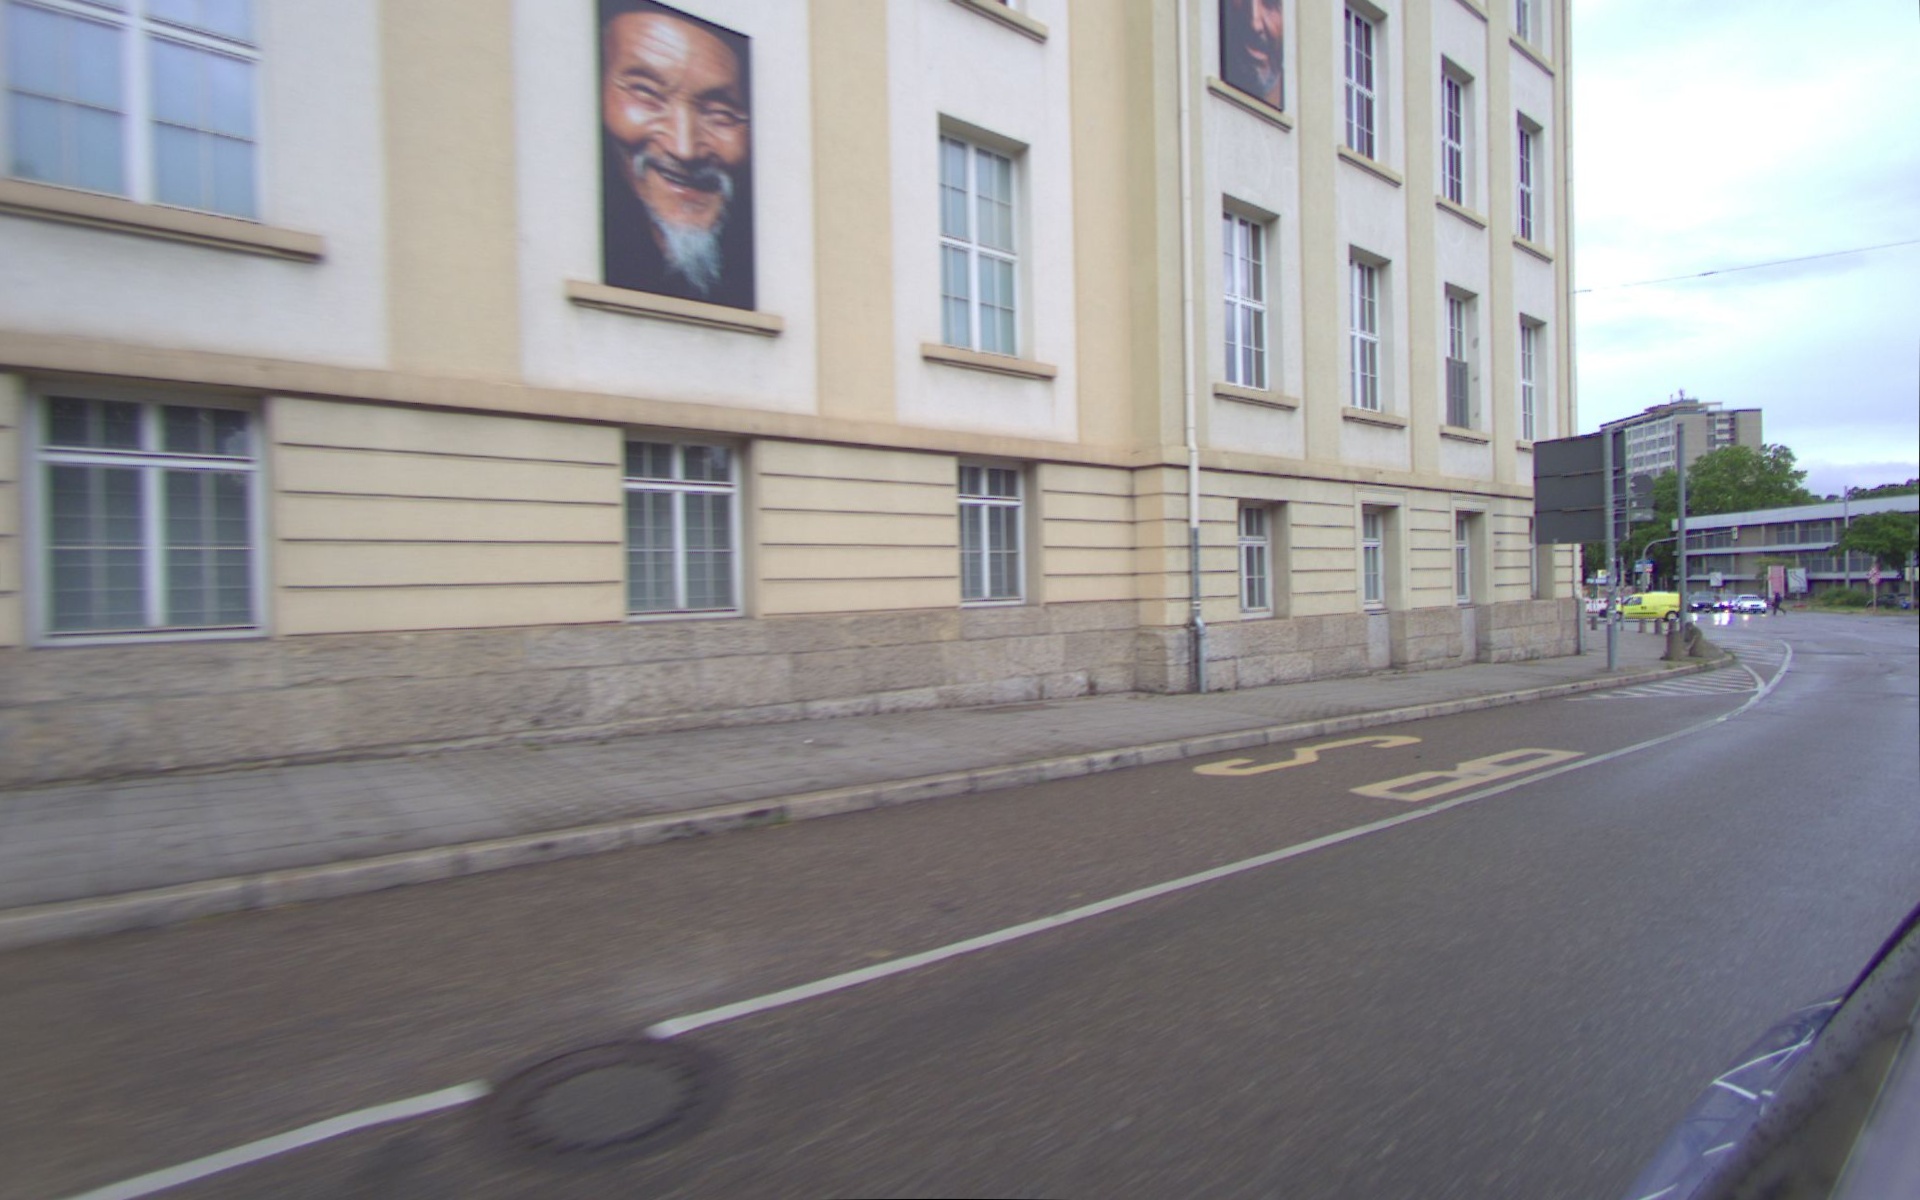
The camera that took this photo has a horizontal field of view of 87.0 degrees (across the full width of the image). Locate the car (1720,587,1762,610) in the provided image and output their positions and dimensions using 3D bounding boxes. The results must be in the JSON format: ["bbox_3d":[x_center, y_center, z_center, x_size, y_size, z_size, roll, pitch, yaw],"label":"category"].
[{"bbox_3d":[66.009,-0.148,85.635,2.058,1.850,4.517,1,1,28],"label":"car"}]

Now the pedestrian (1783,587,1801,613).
[{"bbox_3d":[59.628,-0.022,72.565,0.901,1.819,0.533,-2,-1,45],"label":"pedestrian"}]

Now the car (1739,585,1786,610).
[{"bbox_3d":[63.423,-0.203,80.053,2.058,1.935,4.517,1,1,28],"label":"car"}]

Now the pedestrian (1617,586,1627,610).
[{"bbox_3d":[56.661,-0.212,86.682,0.637,2.039,0.589,0,0,26],"label":"pedestrian"}]

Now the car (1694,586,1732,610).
[{"bbox_3d":[61.028,-0.175,82.091,1.867,1.892,4.304,1,1,28],"label":"car"}]

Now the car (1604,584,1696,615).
[{"bbox_3d":[45.749,-0.054,67.232,4.778,2.033,2.103,1,0,28],"label":"car"}]
